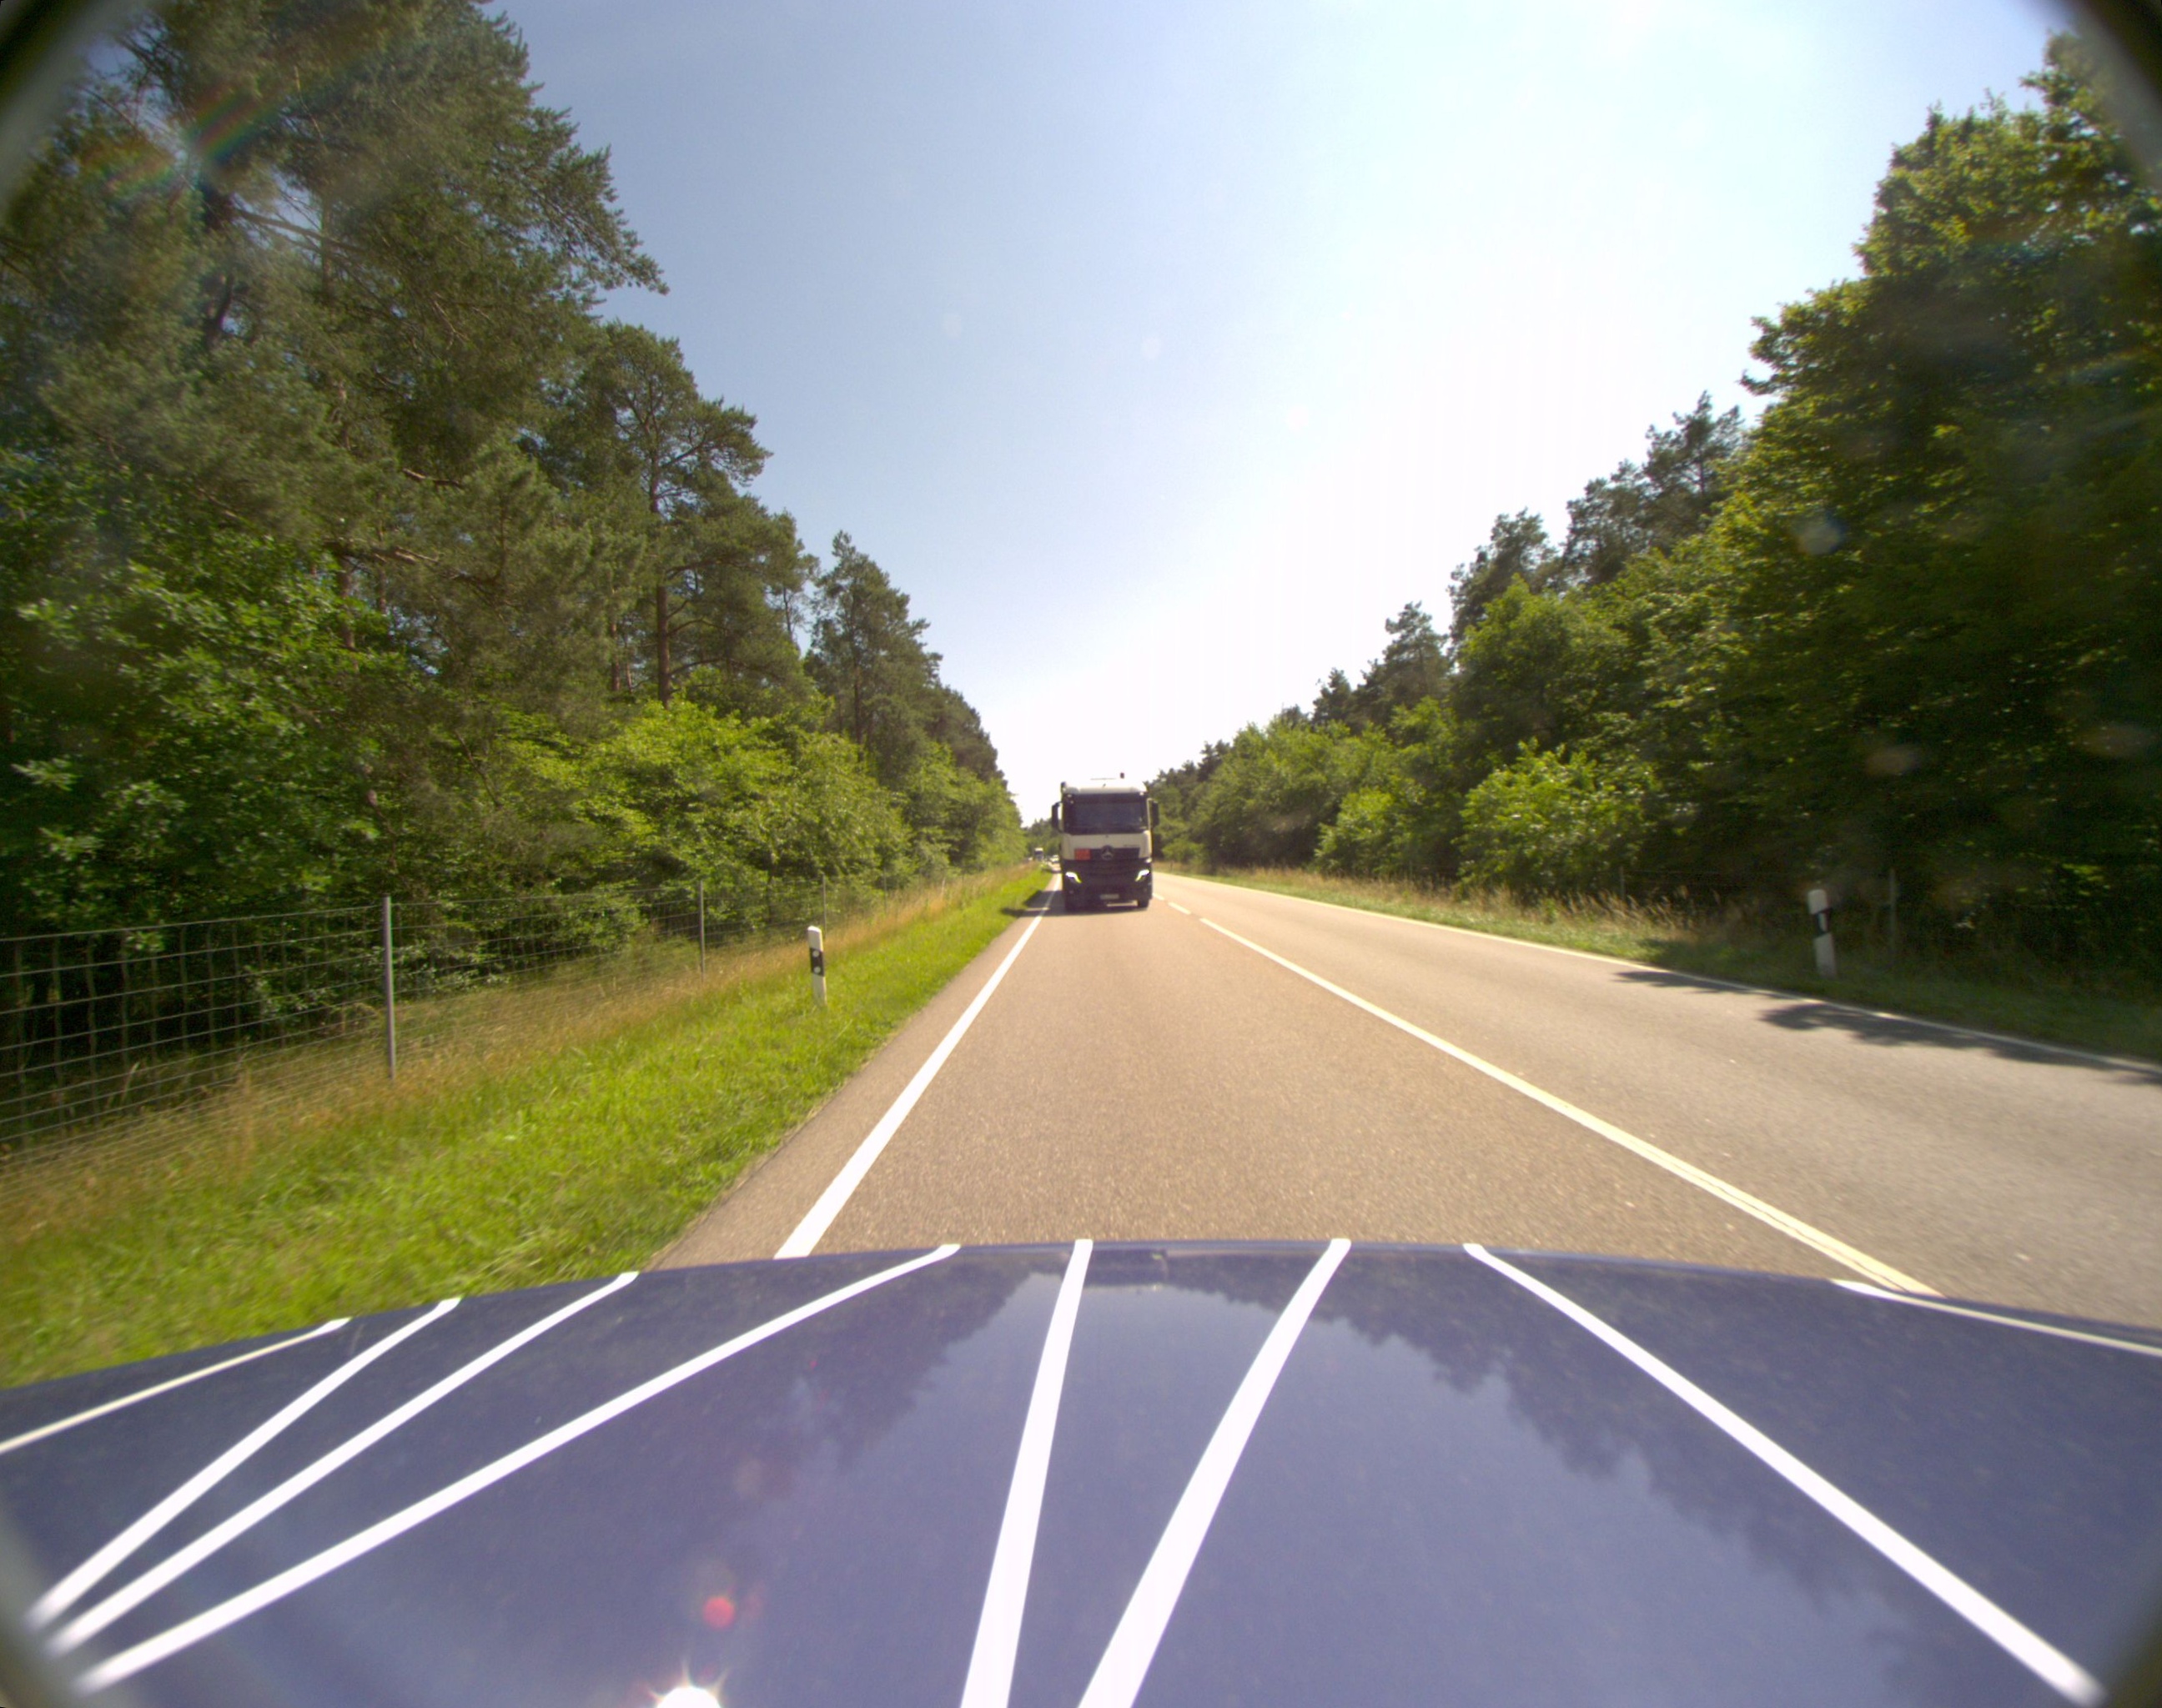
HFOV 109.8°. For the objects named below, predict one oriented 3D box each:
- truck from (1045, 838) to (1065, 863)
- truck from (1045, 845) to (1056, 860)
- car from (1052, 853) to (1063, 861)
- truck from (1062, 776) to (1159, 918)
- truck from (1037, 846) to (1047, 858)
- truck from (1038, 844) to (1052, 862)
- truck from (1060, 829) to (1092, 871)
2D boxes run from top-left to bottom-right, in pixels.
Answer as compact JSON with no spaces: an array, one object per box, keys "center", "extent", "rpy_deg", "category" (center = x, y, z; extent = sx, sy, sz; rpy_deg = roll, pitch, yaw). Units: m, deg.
[{"center":[-3.783,-0.486,108.530],"extent":[2.495,3.316,6.222],"rpy_deg":[1,0,-4],"category":"truck"},{"center":[-7.659,-0.423,191.261],"extent":[2.495,3.619,6.101],"rpy_deg":[-1,0,-4],"category":"truck"},{"center":[-4.182,0.590,137.235],"extent":[1.885,1.461,3.999],"rpy_deg":[0,0,-3],"category":"car"},{"center":[0.724,-0.183,23.504],"extent":[2.435,3.672,6.456],"rpy_deg":[-3,0,-1],"category":"truck"},{"center":[-12.077,-0.618,233.598],"extent":[2.495,3.618,6.100],"rpy_deg":[0,0,-7],"category":"truck"},{"center":[-7.562,-0.129,159.267],"extent":[2.495,3.619,6.101],"rpy_deg":[-1,0,-4],"category":"truck"},{"center":[-0.559,-0.351,70.677],"extent":[2.495,3.698,6.222],"rpy_deg":[1,0,-4],"category":"truck"}]
